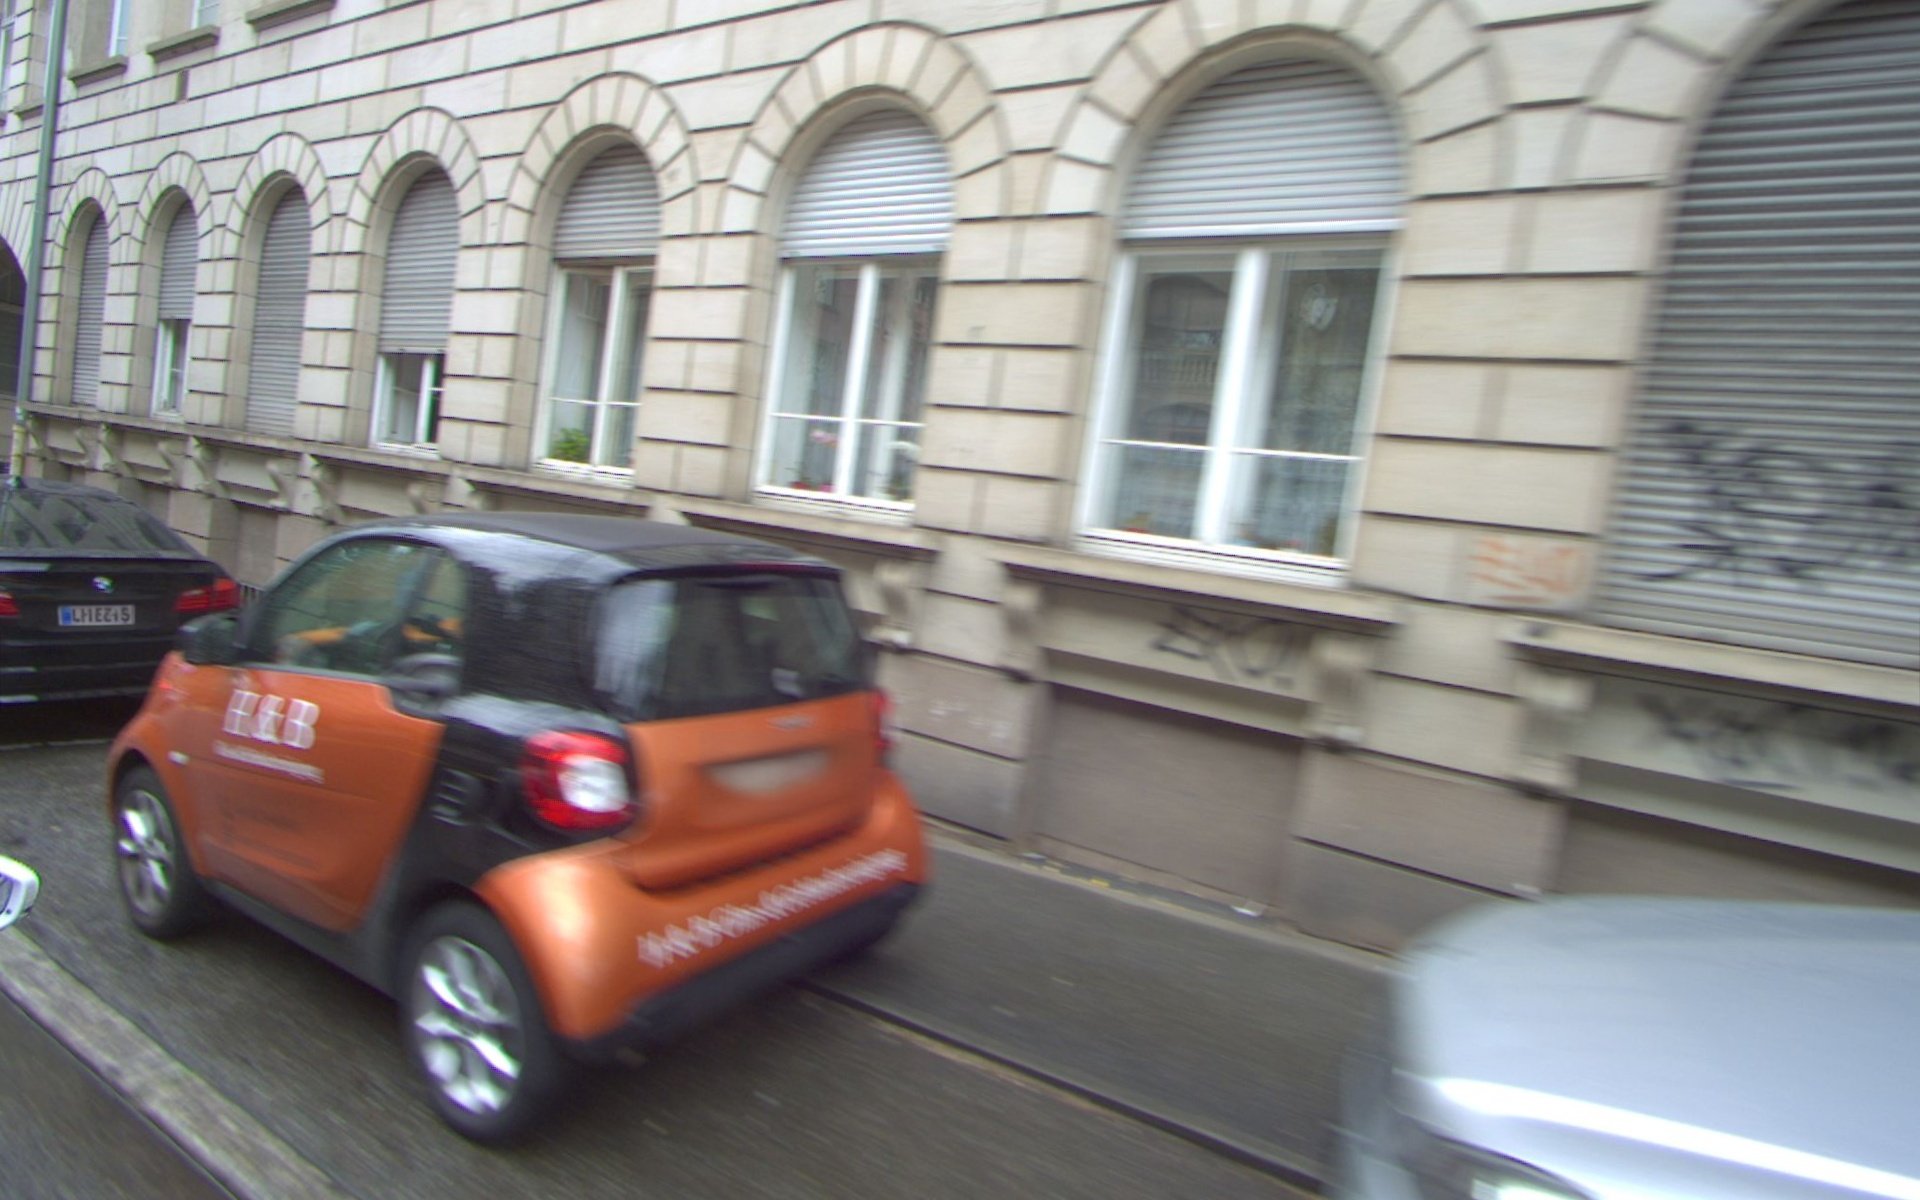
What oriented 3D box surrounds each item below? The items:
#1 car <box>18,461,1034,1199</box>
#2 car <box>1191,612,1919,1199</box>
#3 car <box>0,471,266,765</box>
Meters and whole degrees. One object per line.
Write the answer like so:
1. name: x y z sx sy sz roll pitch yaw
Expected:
1. car: -1.571 0.456 3.474 3.129 1.541 1.638 7 4 30
2. car: 2.630 0.983 1.086 4.347 1.451 1.695 7 4 31
3. car: -6.765 -0.125 6.672 4.644 1.481 1.757 7 4 31
